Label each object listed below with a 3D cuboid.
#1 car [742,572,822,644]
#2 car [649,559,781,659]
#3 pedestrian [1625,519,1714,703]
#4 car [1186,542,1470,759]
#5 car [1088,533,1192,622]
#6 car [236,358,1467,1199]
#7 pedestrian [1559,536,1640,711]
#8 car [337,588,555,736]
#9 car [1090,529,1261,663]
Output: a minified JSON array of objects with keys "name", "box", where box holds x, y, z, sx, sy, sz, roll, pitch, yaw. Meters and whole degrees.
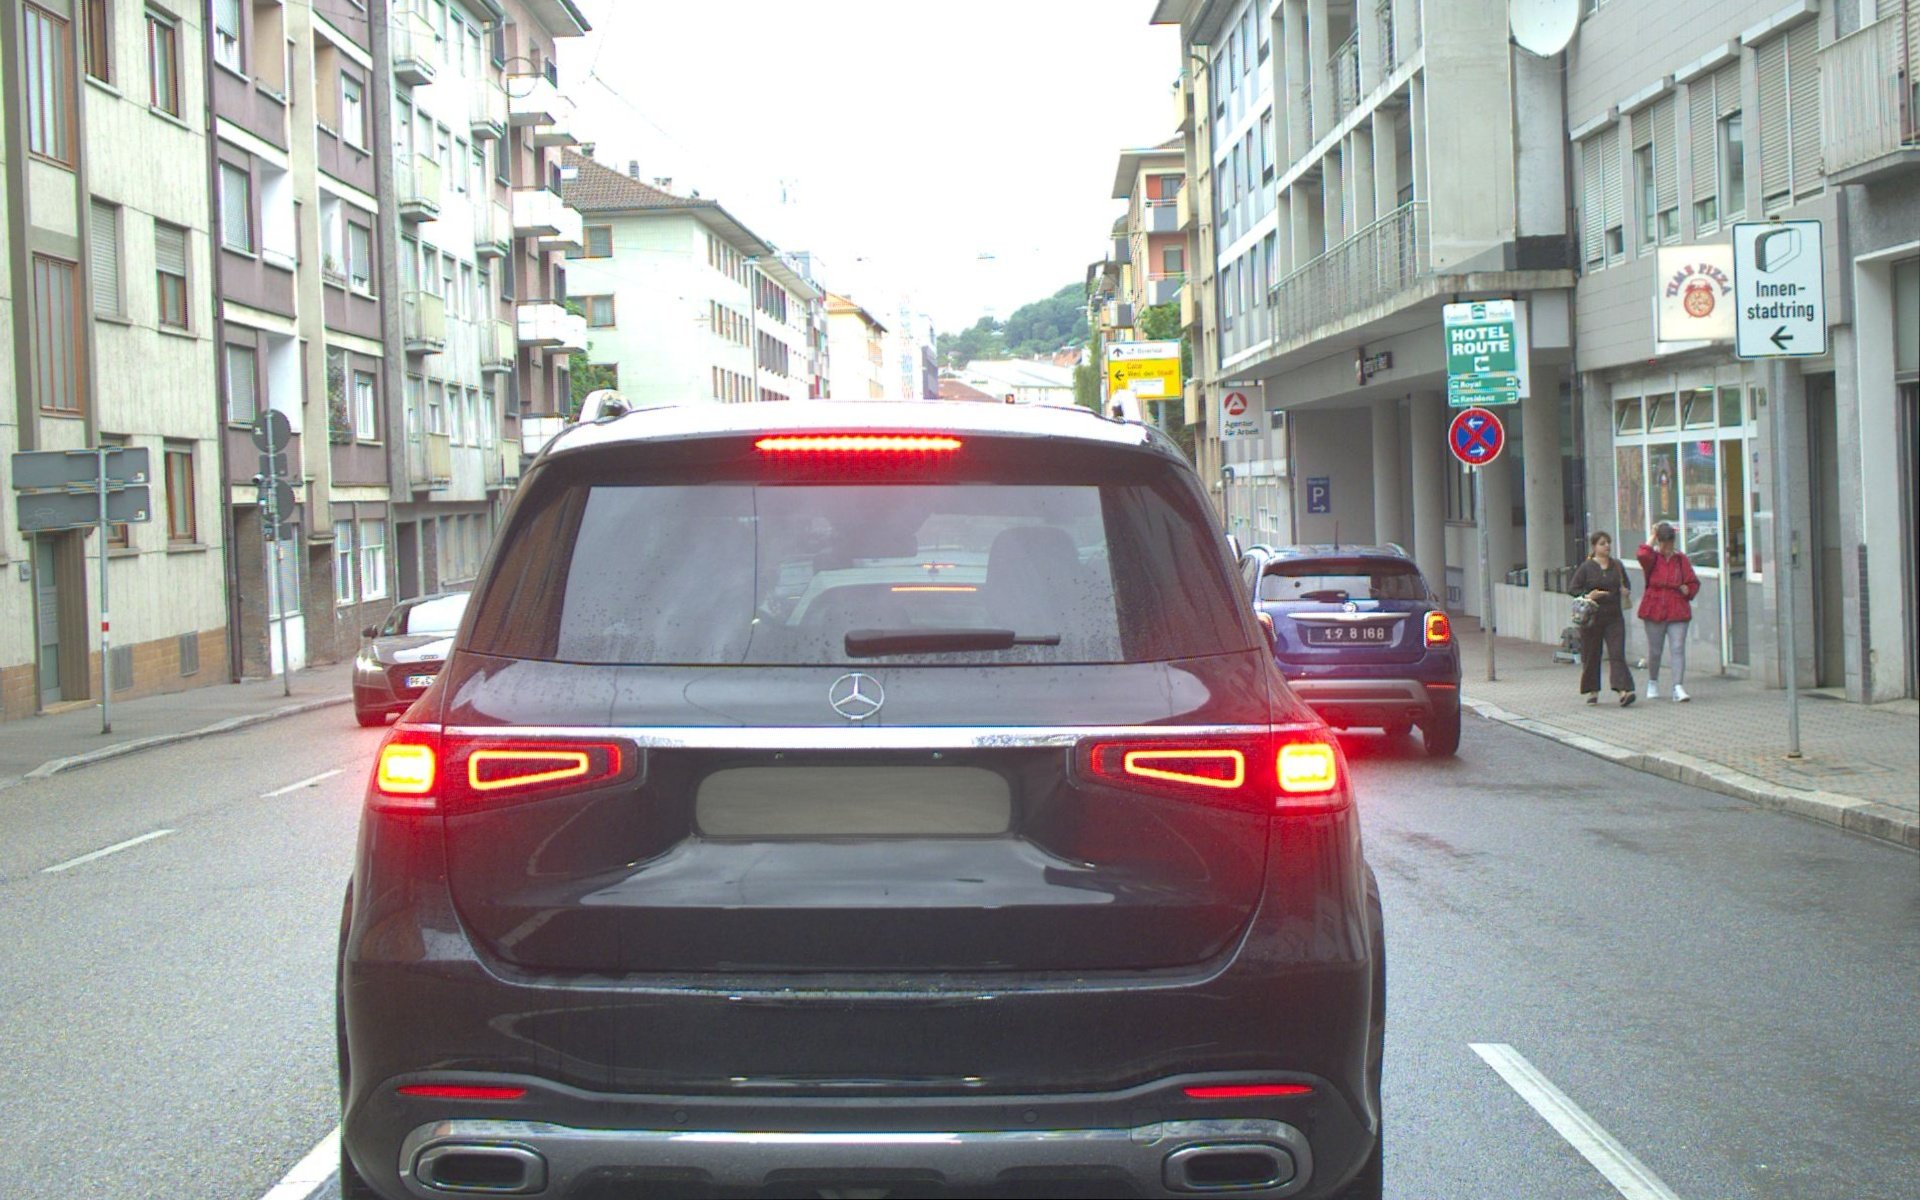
[{"name":"car","box":[-4.383,0.170,85.326,1.732,1.570,4.012,-5,1,-1]},{"name":"car","box":[-3.771,0.110,53.563,1.724,1.385,4.339,-3,1,-1]},{"name":"pedestrian","box":[6.253,0.093,30.324,0.560,1.573,0.526,-4,1,-1]},{"name":"car","box":[2.834,0.338,27.255,1.767,1.575,4.000,-1,1,-1]},{"name":"car","box":[3.309,-0.441,63.834,1.808,1.600,4.212,0,1,1]},{"name":"car","box":[-0.222,0.481,7.719,2.025,1.799,4.000,1,1,-1]},{"name":"pedestrian","box":[5.651,0.201,30.389,0.506,1.495,0.562,-4,1,-1]},{"name":"car","box":[-5.566,0.637,37.634,1.767,1.341,3.889,-5,1,-1]},{"name":"car","box":[2.949,-0.090,47.974,1.940,1.769,4.747,0,1,-2]}]
